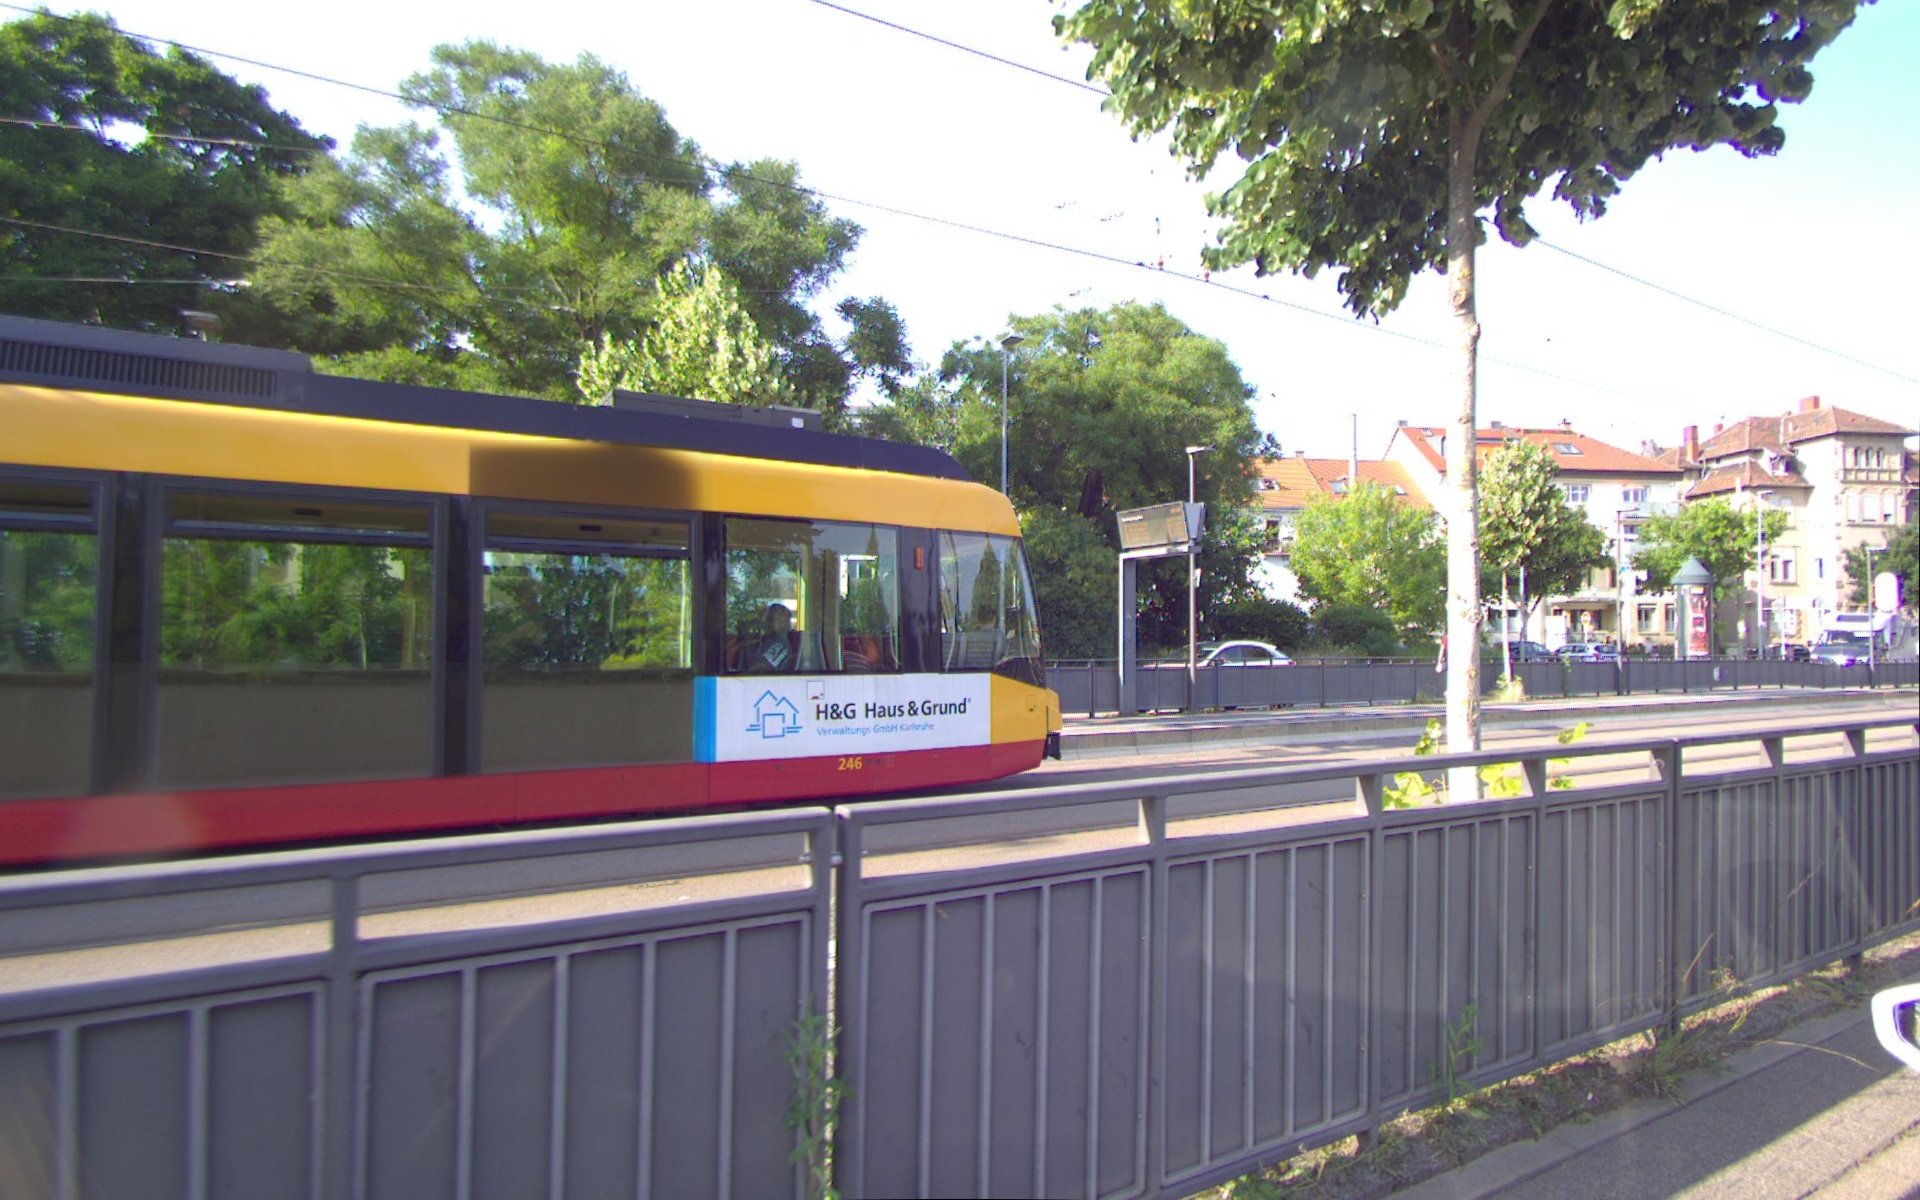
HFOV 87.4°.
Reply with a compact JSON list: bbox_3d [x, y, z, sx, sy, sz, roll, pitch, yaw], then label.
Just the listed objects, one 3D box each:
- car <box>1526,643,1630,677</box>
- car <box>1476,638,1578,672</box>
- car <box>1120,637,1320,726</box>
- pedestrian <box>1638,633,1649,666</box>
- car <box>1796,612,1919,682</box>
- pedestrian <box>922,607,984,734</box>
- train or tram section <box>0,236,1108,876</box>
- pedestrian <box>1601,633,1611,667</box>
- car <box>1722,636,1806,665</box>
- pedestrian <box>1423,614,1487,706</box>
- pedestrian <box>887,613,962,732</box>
[{"bbox_3d":[29.267,2.816,47.713,1.967,1.416,3.988,1,-1,-15],"label":"car"},{"bbox_3d":[26.505,2.547,47.111,1.966,1.416,3.988,1,-1,-15],"label":"car"},{"bbox_3d":[5.585,1.659,21.487,3.954,1.706,1.983,1,-1,-31],"label":"car"},{"bbox_3d":[43.316,3.138,63.654,0.426,2.040,0.421,1,-1,-11],"label":"pedestrian"},{"bbox_3d":[38.754,1.939,42.733,7.382,2.771,2.584,1,-1,-31],"label":"car"},{"bbox_3d":[-0.102,0.947,13.658,0.601,1.663,0.578,1,-3,-34],"label":"pedestrian"},{"bbox_3d":[-5.512,-0.210,7.224,14.304,3.525,3.146,1,-1,-31],"label":"train or tram section"},{"bbox_3d":[39.760,3.073,61.816,0.400,2.040,0.383,1,-1,-11],"label":"pedestrian"},{"bbox_3d":[53.058,3.307,66.356,1.965,1.773,3.992,1,-1,-12],"label":"car"},{"bbox_3d":[9.763,1.165,19.822,0.763,1.756,0.832,1,-2,-29],"label":"pedestrian"},{"bbox_3d":[-0.512,1.030,14.592,0.656,1.663,0.859,0,-1,44],"label":"pedestrian"}]
